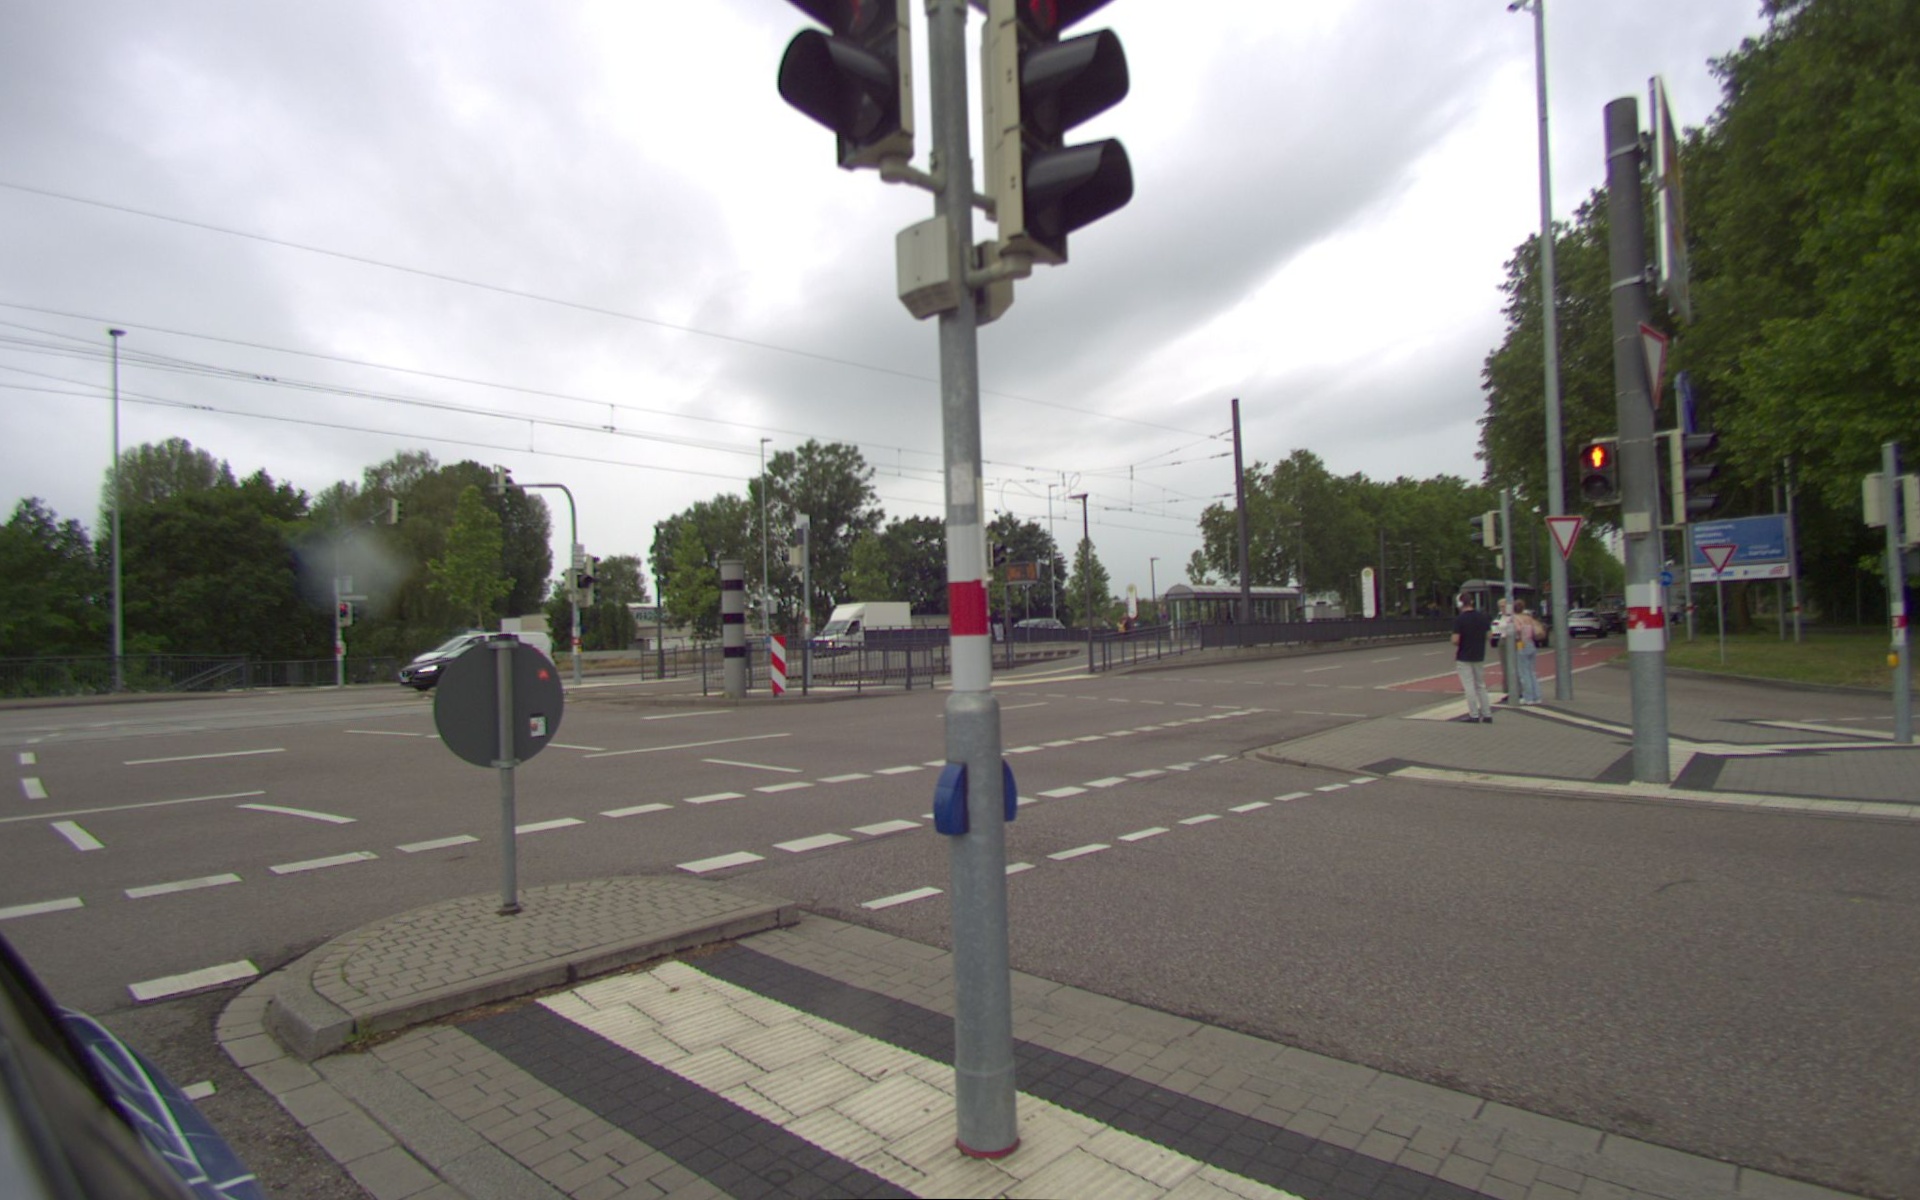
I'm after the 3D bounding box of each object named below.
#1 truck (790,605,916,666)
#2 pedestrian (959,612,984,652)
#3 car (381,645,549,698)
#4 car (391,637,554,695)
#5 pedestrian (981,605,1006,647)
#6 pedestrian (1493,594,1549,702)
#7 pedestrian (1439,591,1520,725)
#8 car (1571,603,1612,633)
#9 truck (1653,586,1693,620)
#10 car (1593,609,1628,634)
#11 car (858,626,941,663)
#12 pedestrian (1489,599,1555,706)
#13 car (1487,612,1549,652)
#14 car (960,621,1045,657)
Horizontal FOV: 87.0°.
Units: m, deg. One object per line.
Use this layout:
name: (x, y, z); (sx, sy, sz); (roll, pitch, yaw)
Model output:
truck: (-5.593, 1.849, 53.807); (2.825, 2.946, 6.458); (-5, -4, 39)
pedestrian: (0.459, 1.322, 41.889); (0.711, 1.572, 0.624); (-6, -3, 42)
car: (-15.429, 2.200, 31.696); (1.999, 1.401, 4.283); (-5, -4, 41)
car: (-18.155, 2.433, 37.884); (2.099, 1.894, 5.051); (-5, -4, 40)
pedestrian: (1.447, 1.138, 43.786); (0.788, 1.755, 0.578); (-6, -3, 43)
pedestrian: (9.665, 0.813, 17.456); (0.761, 1.811, 0.670); (-1, 0, 25)
pedestrian: (7.152, 0.789, 13.933); (0.653, 1.778, 0.689); (3, -1, -30)
car: (35.650, 0.977, 57.105); (1.793, 1.597, 4.094); (0, 0, 34)
truck: (82.029, 0.354, 116.370); (3.258, 3.691, 9.768); (-1, -1, 38)
car: (43.380, 1.427, 67.478); (1.631, 1.528, 3.379); (0, 1, 38)
car: (-3.048, 2.262, 51.718); (1.783, 1.664, 4.192); (-5, -4, 40)
pedestrian: (9.370, 0.862, 16.883); (0.766, 1.725, 0.666); (-2, -1, 45)
car: (24.305, 1.368, 44.026); (1.889, 1.597, 4.358); (-2, -1, 35)
car: (2.042, 1.825, 47.785); (1.676, 1.419, 4.314); (-5, -3, 40)
